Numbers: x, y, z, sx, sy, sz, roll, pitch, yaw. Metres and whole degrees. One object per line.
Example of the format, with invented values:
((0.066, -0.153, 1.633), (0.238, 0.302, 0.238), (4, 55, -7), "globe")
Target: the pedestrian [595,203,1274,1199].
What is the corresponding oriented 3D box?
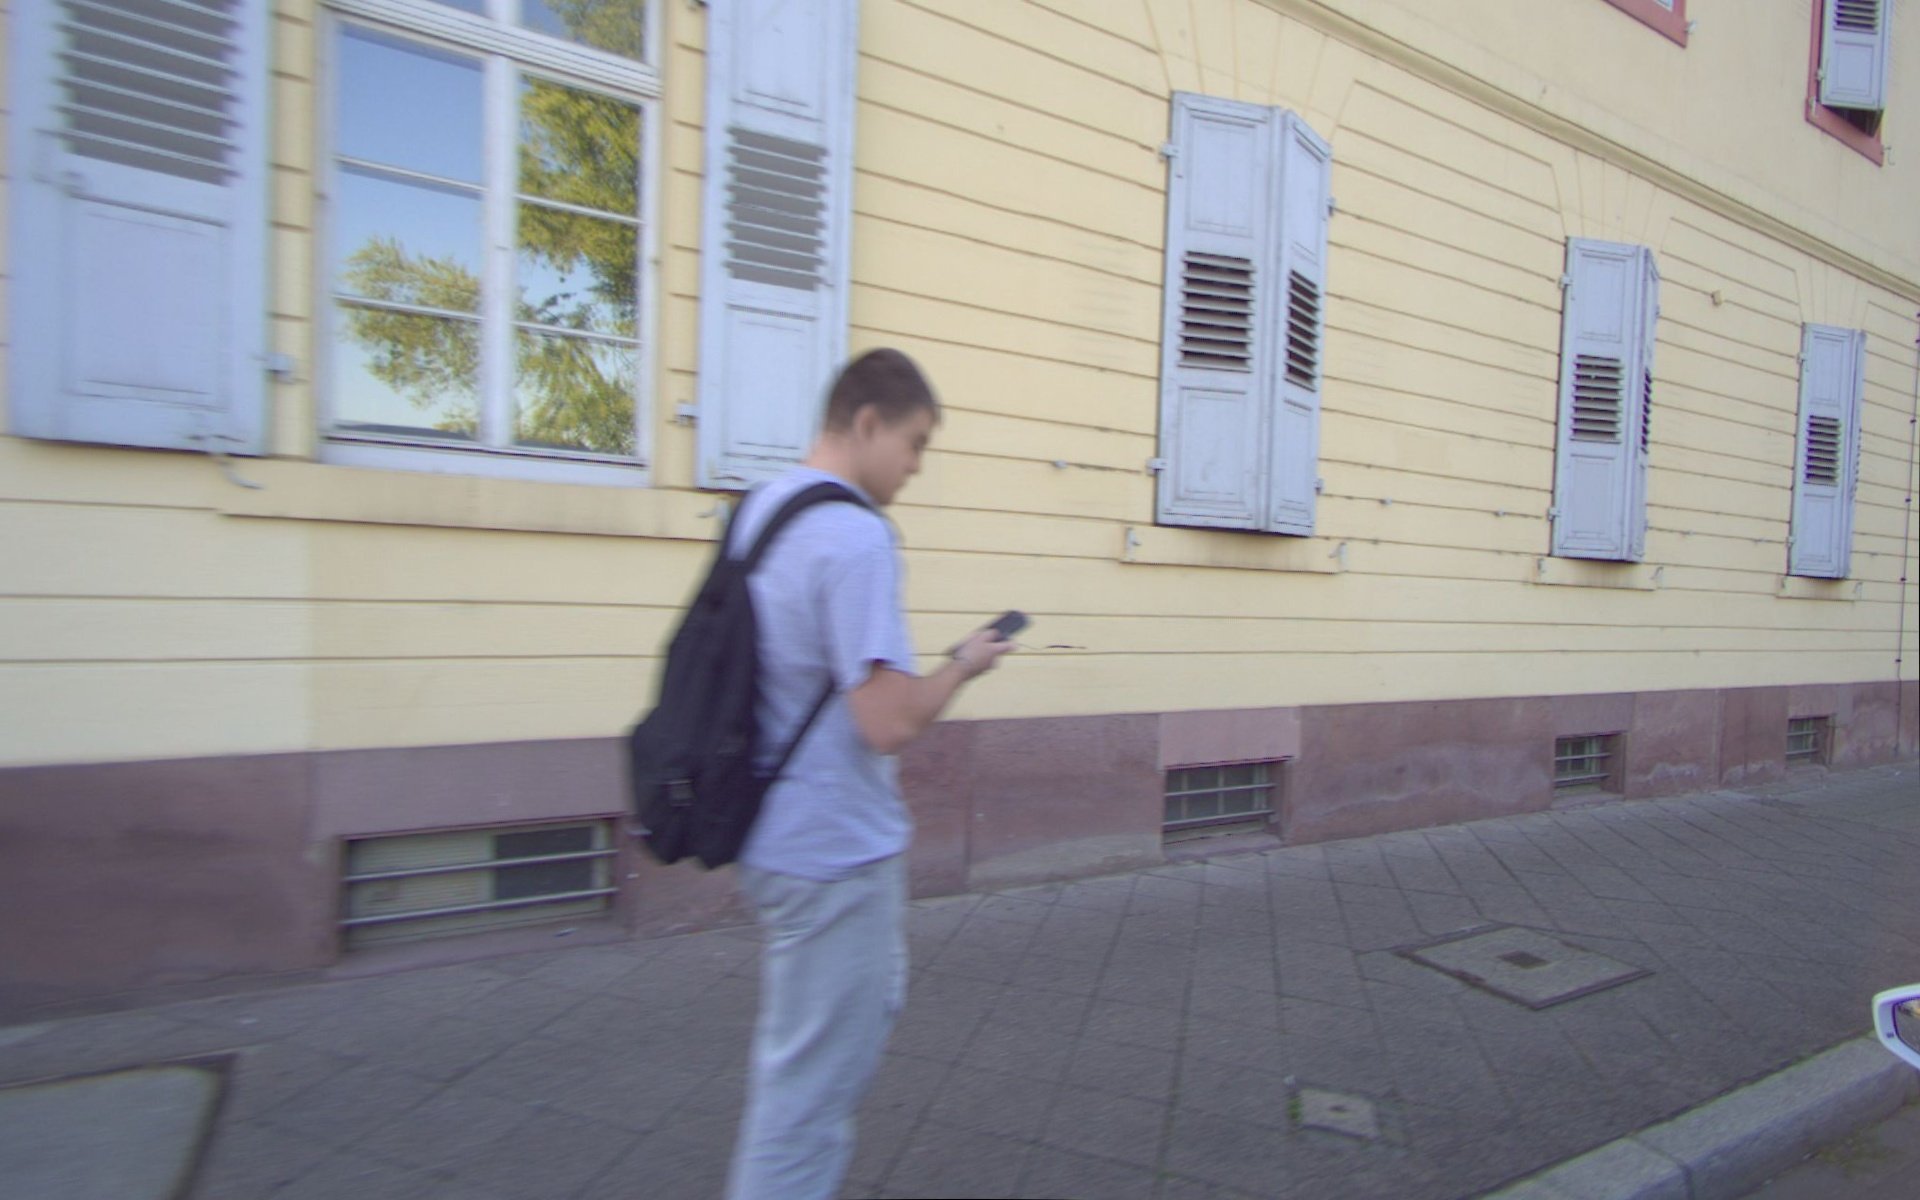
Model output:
((-0.125, 0.429, 1.707), (0.818, 1.747, 0.873), (1, 2, -26), "pedestrian")
